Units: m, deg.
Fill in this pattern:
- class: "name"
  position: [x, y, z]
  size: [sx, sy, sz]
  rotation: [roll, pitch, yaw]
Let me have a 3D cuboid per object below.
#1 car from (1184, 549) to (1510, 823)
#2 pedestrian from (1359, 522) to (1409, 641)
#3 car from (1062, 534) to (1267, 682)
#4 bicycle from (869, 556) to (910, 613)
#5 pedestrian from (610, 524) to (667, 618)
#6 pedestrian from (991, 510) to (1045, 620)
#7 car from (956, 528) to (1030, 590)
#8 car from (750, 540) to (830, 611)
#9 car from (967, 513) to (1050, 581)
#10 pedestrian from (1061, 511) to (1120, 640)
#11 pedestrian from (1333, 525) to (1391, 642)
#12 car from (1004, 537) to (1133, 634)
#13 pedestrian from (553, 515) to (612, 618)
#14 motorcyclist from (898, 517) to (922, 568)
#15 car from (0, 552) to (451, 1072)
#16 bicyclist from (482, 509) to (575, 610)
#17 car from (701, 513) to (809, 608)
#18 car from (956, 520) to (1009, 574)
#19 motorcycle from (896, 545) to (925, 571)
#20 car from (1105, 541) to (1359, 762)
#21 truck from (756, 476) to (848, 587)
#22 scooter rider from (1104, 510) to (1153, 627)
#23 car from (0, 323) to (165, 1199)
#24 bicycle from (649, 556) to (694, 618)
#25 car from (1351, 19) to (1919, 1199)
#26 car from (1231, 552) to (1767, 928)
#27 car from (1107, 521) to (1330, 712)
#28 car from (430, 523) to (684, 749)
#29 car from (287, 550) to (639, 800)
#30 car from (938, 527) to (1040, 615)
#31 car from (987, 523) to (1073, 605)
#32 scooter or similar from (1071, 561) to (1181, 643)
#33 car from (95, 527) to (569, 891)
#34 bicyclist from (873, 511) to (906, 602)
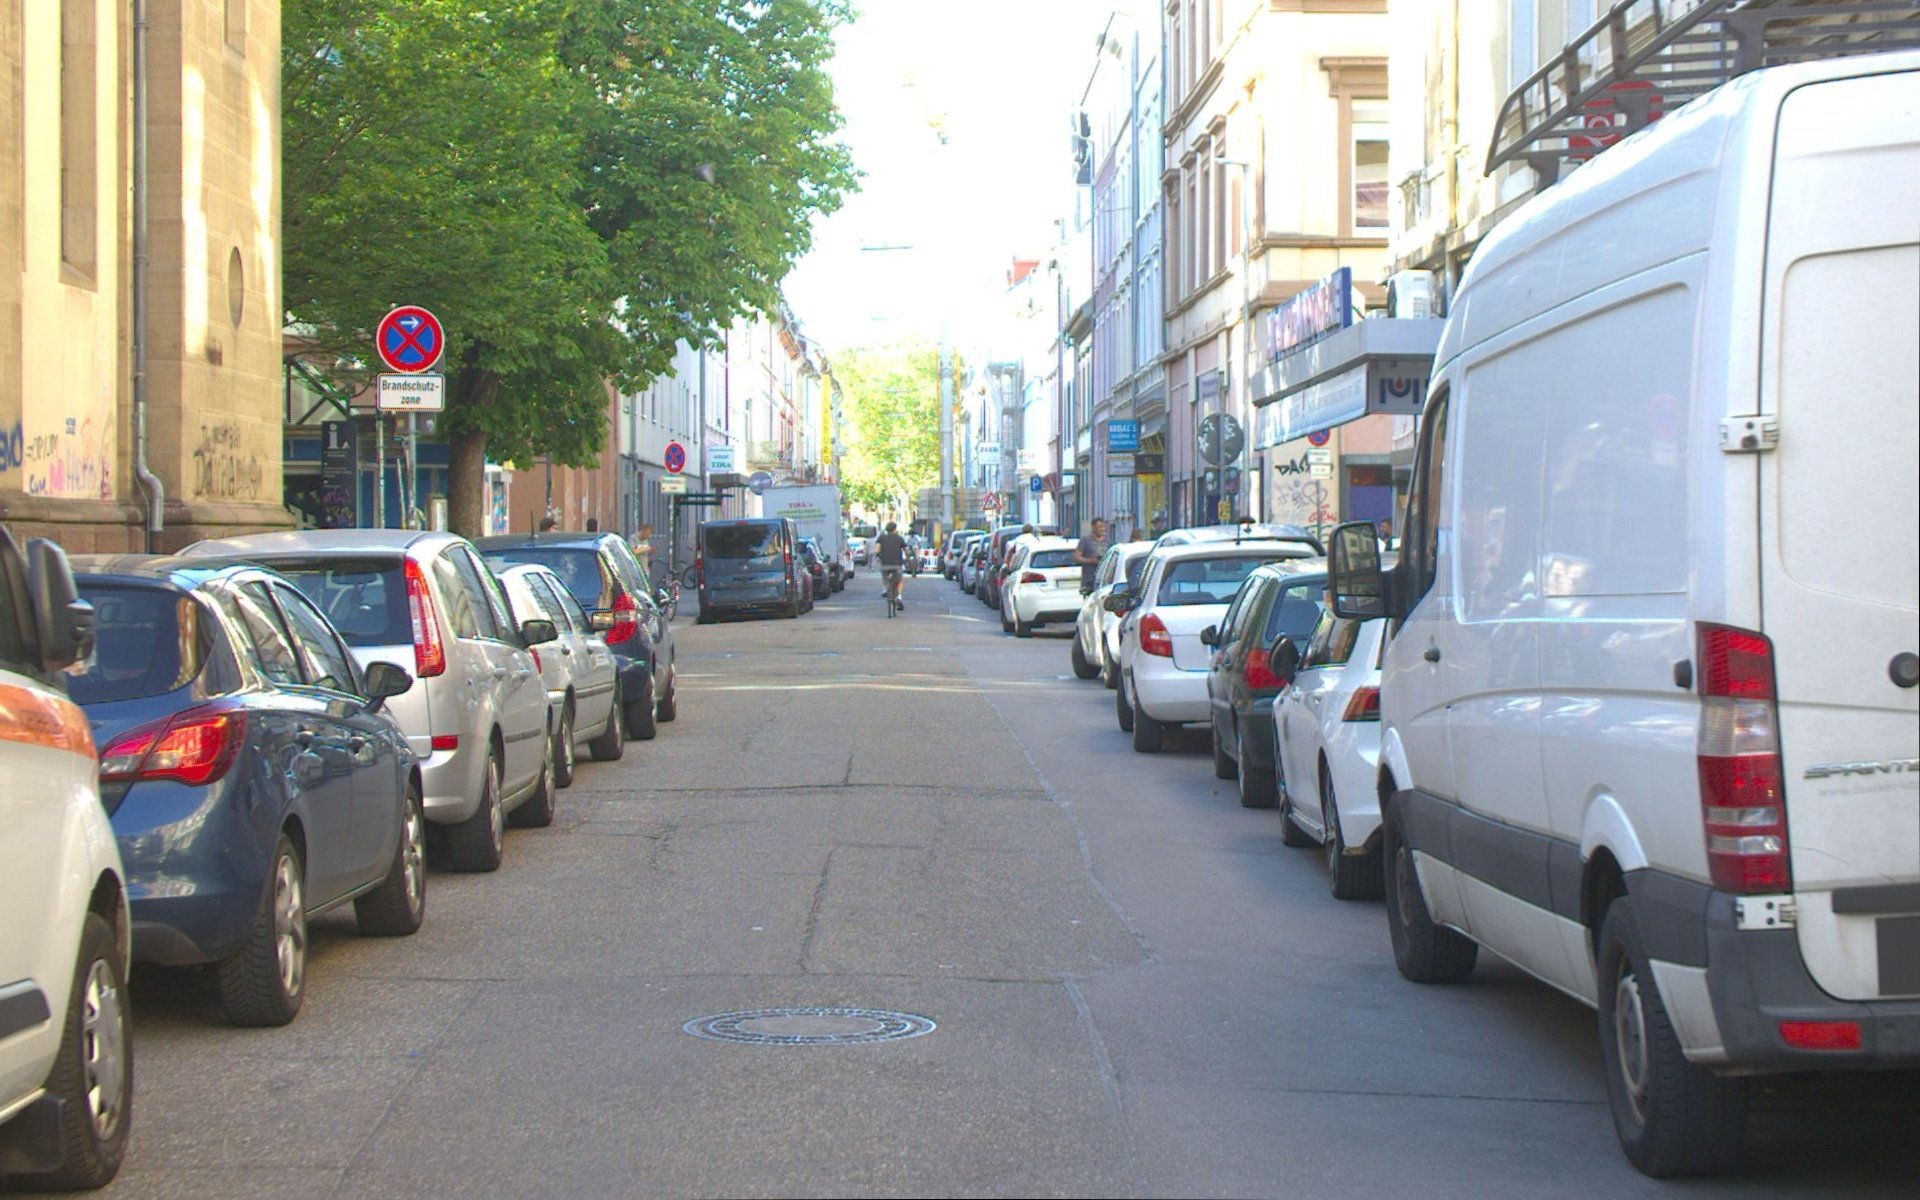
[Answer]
- class: "car"
  position: [2.306, 0.462, 21.272]
  size: [1.569, 1.490, 3.653]
  rotation: [2, 1, 0]
- class: "pedestrian"
  position: [5.887, -0.263, 47.751]
  size: [0.456, 1.637, 0.502]
  rotation: [-1, 1, -41]
- class: "car"
  position: [2.107, 0.044, 36.367]
  size: [1.716, 1.483, 3.870]
  rotation: [0, 1, -3]
- class: "bicycle"
  position: [-1.311, -0.297, 63.870]
  size: [0.739, 1.040, 1.859]
  rotation: [0, 1, 0]
- class: "pedestrian"
  position: [-5.618, -0.514, 60.096]
  size: [0.929, 1.631, 0.806]
  rotation: [0, 1, 0]
- class: "pedestrian"
  position: [0.975, -0.595, 58.352]
  size: [0.782, 1.837, 1.012]
  rotation: [1, 1, -5]
- class: "car"
  position: [0.929, -1.202, 99.393]
  size: [1.993, 1.680, 4.000]
  rotation: [2, 1, 0]
- class: "car"
  position: [-4.339, -0.649, 88.163]
  size: [1.875, 1.790, 4.000]
  rotation: [0, 1, 0]
- class: "car"
  position: [1.225, -1.374, 88.598]
  size: [1.993, 1.626, 4.000]
  rotation: [2, 1, 0]
- class: "pedestrian"
  position: [1.878, -0.352, 49.488]
  size: [0.681, 1.837, 0.695]
  rotation: [1, 1, -12]
- class: "pedestrian"
  position: [5.708, -0.239, 48.805]
  size: [0.542, 1.637, 0.607]
  rotation: [-1, 1, -41]
- class: "car"
  position: [1.688, -0.261, 54.523]
  size: [1.897, 1.483, 3.869]
  rotation: [0, 1, 0]
- class: "pedestrian"
  position: [-6.559, -0.586, 59.756]
  size: [0.929, 1.780, 0.806]
  rotation: [0, 1, 0]
- class: "motorcyclist"
  position: [-1.980, -2.254, 134.803]
  size: [0.902, 2.007, 1.190]
  rotation: [0, 1, -3]
- class: "car"
  position: [-2.853, 0.594, 11.834]
  size: [1.615, 1.447, 3.950]
  rotation: [-2, 1, -1]
- class: "bicyclist"
  position: [-5.611, -0.532, 44.696]
  size: [1.059, 1.302, 0.757]
  rotation: [0, 1, -20]
- class: "car"
  position: [-3.921, -0.777, 66.374]
  size: [1.875, 1.790, 4.000]
  rotation: [0, 1, 0]
- class: "car"
  position: [0.845, -2.030, 131.055]
  size: [1.993, 2.007, 4.000]
  rotation: [0, 1, 0]
- class: "motorcycle"
  position: [-1.956, -1.658, 134.580]
  size: [1.042, 0.977, 2.825]
  rotation: [0, 1, -3]
- class: "car"
  position: [1.987, 0.328, 26.074]
  size: [1.603, 1.499, 4.000]
  rotation: [1, 1, 1]
- class: "truck"
  position: [-4.775, -2.091, 104.803]
  size: [2.532, 3.270, 6.995]
  rotation: [0, 1, 0]
- class: "scooter rider"
  position: [2.373, -0.446, 48.334]
  size: [0.650, 1.637, 0.683]
  rotation: [0, 1, 5]
- class: "car"
  position: [-2.854, 0.450, 6.090]
  size: [1.864, 1.950, 4.611]
  rotation: [-2, 1, -1]
- class: "bicycle"
  position: [-5.336, -0.249, 63.604]
  size: [0.644, 1.105, 1.605]
  rotation: [0, 1, -11]
- class: "car"
  position: [2.511, 0.115, 9.644]
  size: [2.068, 2.602, 5.888]
  rotation: [1, 1, -1]
- class: "car"
  position: [2.393, 0.547, 16.346]
  size: [1.779, 1.481, 4.360]
  rotation: [2, 1, -1]
- class: "car"
  position: [2.305, 0.102, 31.523]
  size: [1.716, 1.640, 4.000]
  rotation: [0, 1, 0]
- class: "car"
  position: [-3.128, 0.235, 27.291]
  size: [1.600, 1.608, 3.809]
  rotation: [-2, 1, -1]
- class: "car"
  position: [-3.166, 0.426, 22.574]
  size: [1.570, 1.393, 3.808]
  rotation: [-3, 1, 2]
- class: "car"
  position: [0.520, -0.579, 65.989]
  size: [1.897, 1.645, 4.000]
  rotation: [0, 1, 0]
- class: "car"
  position: [1.505, -0.804, 75.061]
  size: [1.769, 1.735, 4.000]
  rotation: [0, 1, 0]
- class: "scooter or similar"
  position: [2.339, 0.028, 48.321]
  size: [1.530, 1.135, 0.601]
  rotation: [0, 1, 5]
- class: "car"
  position: [-2.951, 0.445, 16.920]
  size: [1.672, 1.553, 4.000]
  rotation: [-1, 1, -2]
- class: "bicyclist"
  position: [-1.313, -0.816, 63.936]
  size: [0.605, 1.682, 0.885]
  rotation: [0, 1, -1]
